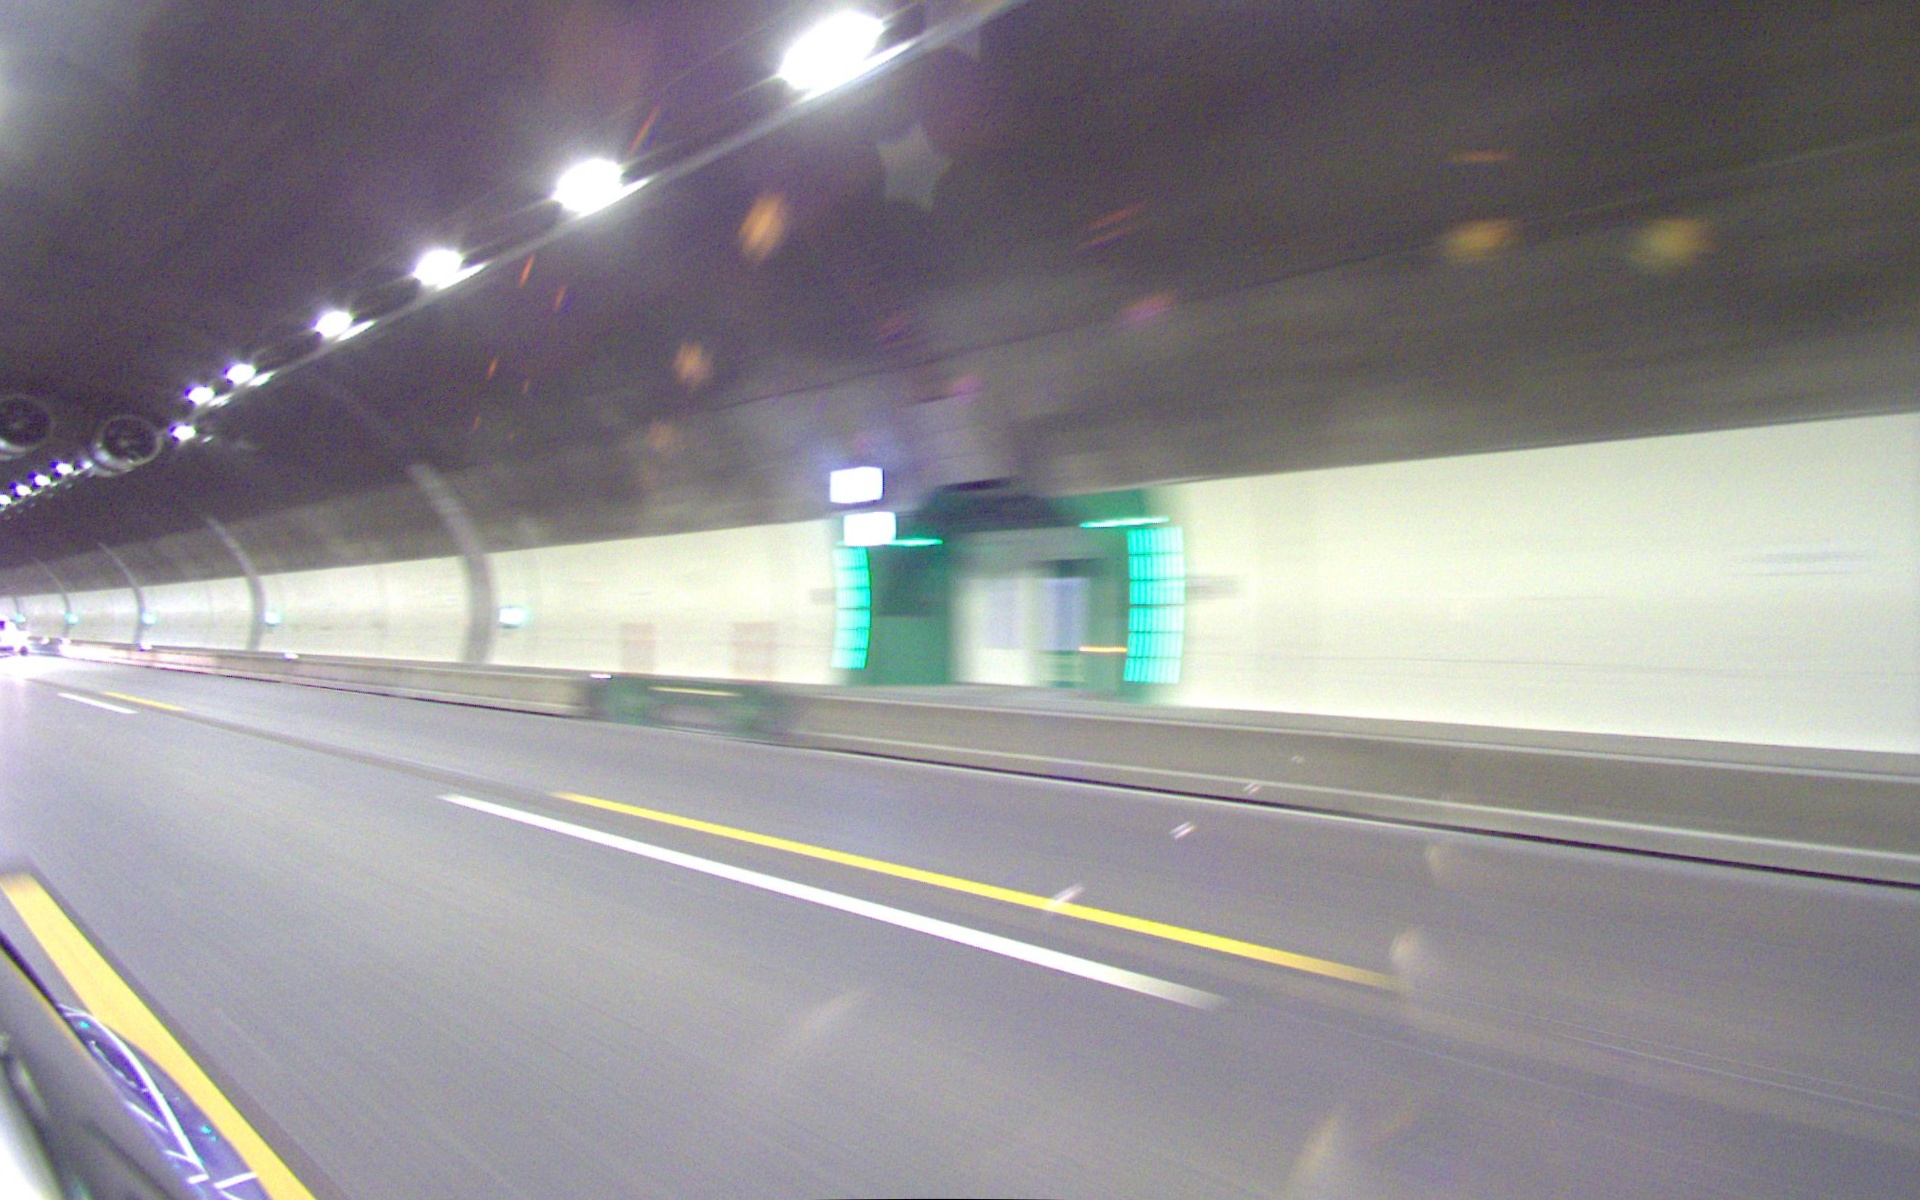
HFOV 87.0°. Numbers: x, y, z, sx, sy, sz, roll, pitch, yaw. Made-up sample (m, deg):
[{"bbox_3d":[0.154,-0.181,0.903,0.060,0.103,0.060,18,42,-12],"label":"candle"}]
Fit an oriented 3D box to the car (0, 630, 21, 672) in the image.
[{"bbox_3d":[-39.045,2.045,40.419,4.094,1.584,1.744,-1,0,40],"label":"car"}]
